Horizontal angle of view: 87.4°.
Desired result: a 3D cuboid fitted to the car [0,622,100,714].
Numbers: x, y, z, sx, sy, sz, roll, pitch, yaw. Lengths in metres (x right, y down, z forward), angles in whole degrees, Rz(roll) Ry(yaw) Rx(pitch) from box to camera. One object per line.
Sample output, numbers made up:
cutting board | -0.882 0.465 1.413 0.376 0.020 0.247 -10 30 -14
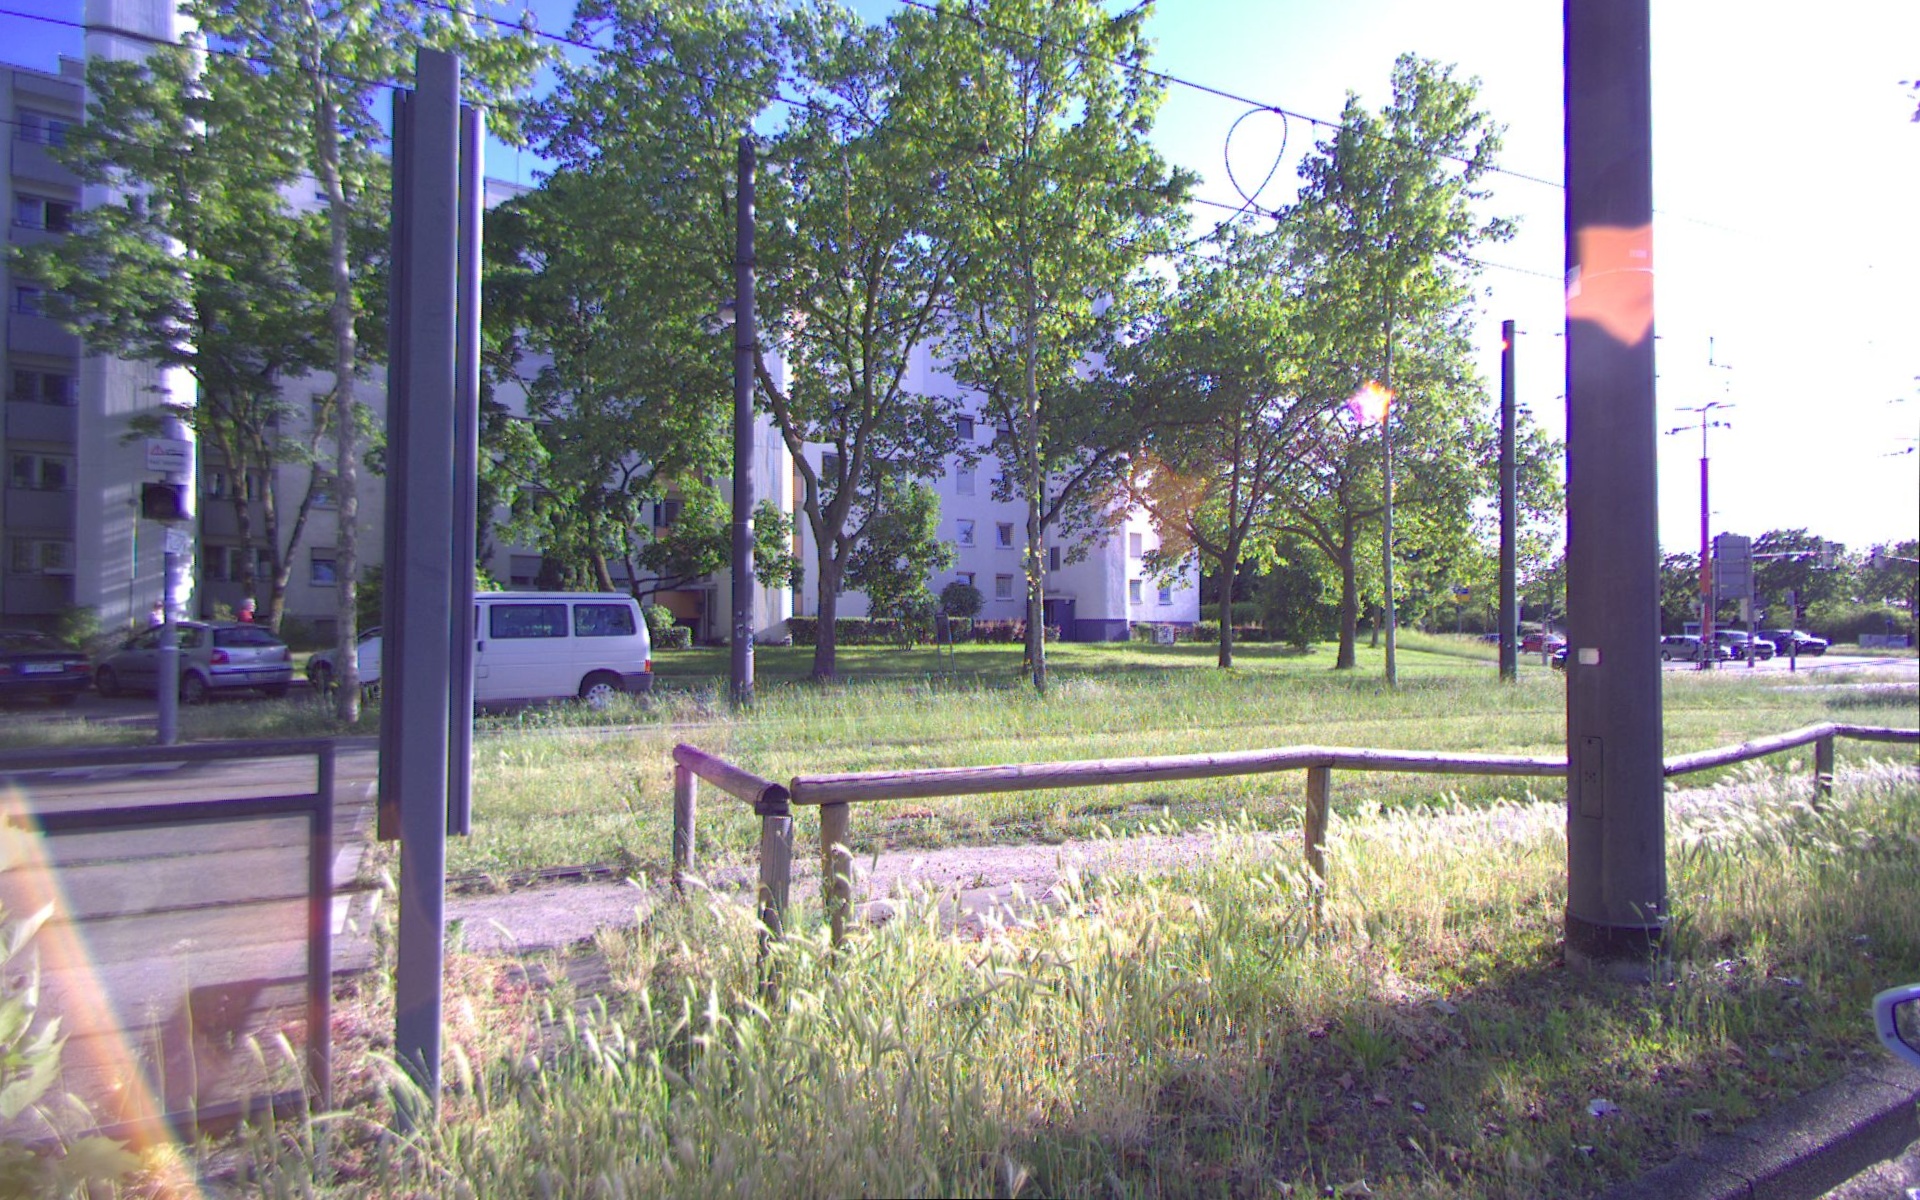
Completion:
car | -16.999 1.113 17.415 3.850 1.368 1.593 2 0 23

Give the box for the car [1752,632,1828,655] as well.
car | 52.452 2.735 63.571 1.664 1.347 4.001 1 -1 2

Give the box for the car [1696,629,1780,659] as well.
car | 46.033 2.592 59.512 1.960 1.666 4.001 1 -1 2

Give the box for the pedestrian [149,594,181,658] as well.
pedestrian | -22.336 0.740 28.231 0.628 1.780 0.518 1 -1 -32

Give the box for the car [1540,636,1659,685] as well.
car | 21.767 2.021 34.161 4.054 1.532 1.756 1 -1 -30

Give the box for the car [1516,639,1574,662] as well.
car | 42.028 3.586 72.273 1.699 1.533 3.998 1 -1 -3

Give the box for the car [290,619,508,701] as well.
car | -11.512 1.169 20.659 3.898 1.462 1.710 1 0 18

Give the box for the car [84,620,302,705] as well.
car | -14.596 1.131 19.134 3.547 1.439 1.576 1 0 19

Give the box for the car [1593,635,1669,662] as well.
car | 42.805 3.068 64.191 1.833 1.633 4.186 1 -1 -4

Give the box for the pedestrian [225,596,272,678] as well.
pedestrian | -15.842 0.824 22.378 0.746 1.780 0.757 1 -1 -29

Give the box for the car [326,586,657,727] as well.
car | -7.443 0.867 16.244 4.596 2.018 1.784 1 -1 -29

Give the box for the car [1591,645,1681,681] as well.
car | 31.337 2.897 46.546 4.280 1.543 1.798 1 -1 -30
